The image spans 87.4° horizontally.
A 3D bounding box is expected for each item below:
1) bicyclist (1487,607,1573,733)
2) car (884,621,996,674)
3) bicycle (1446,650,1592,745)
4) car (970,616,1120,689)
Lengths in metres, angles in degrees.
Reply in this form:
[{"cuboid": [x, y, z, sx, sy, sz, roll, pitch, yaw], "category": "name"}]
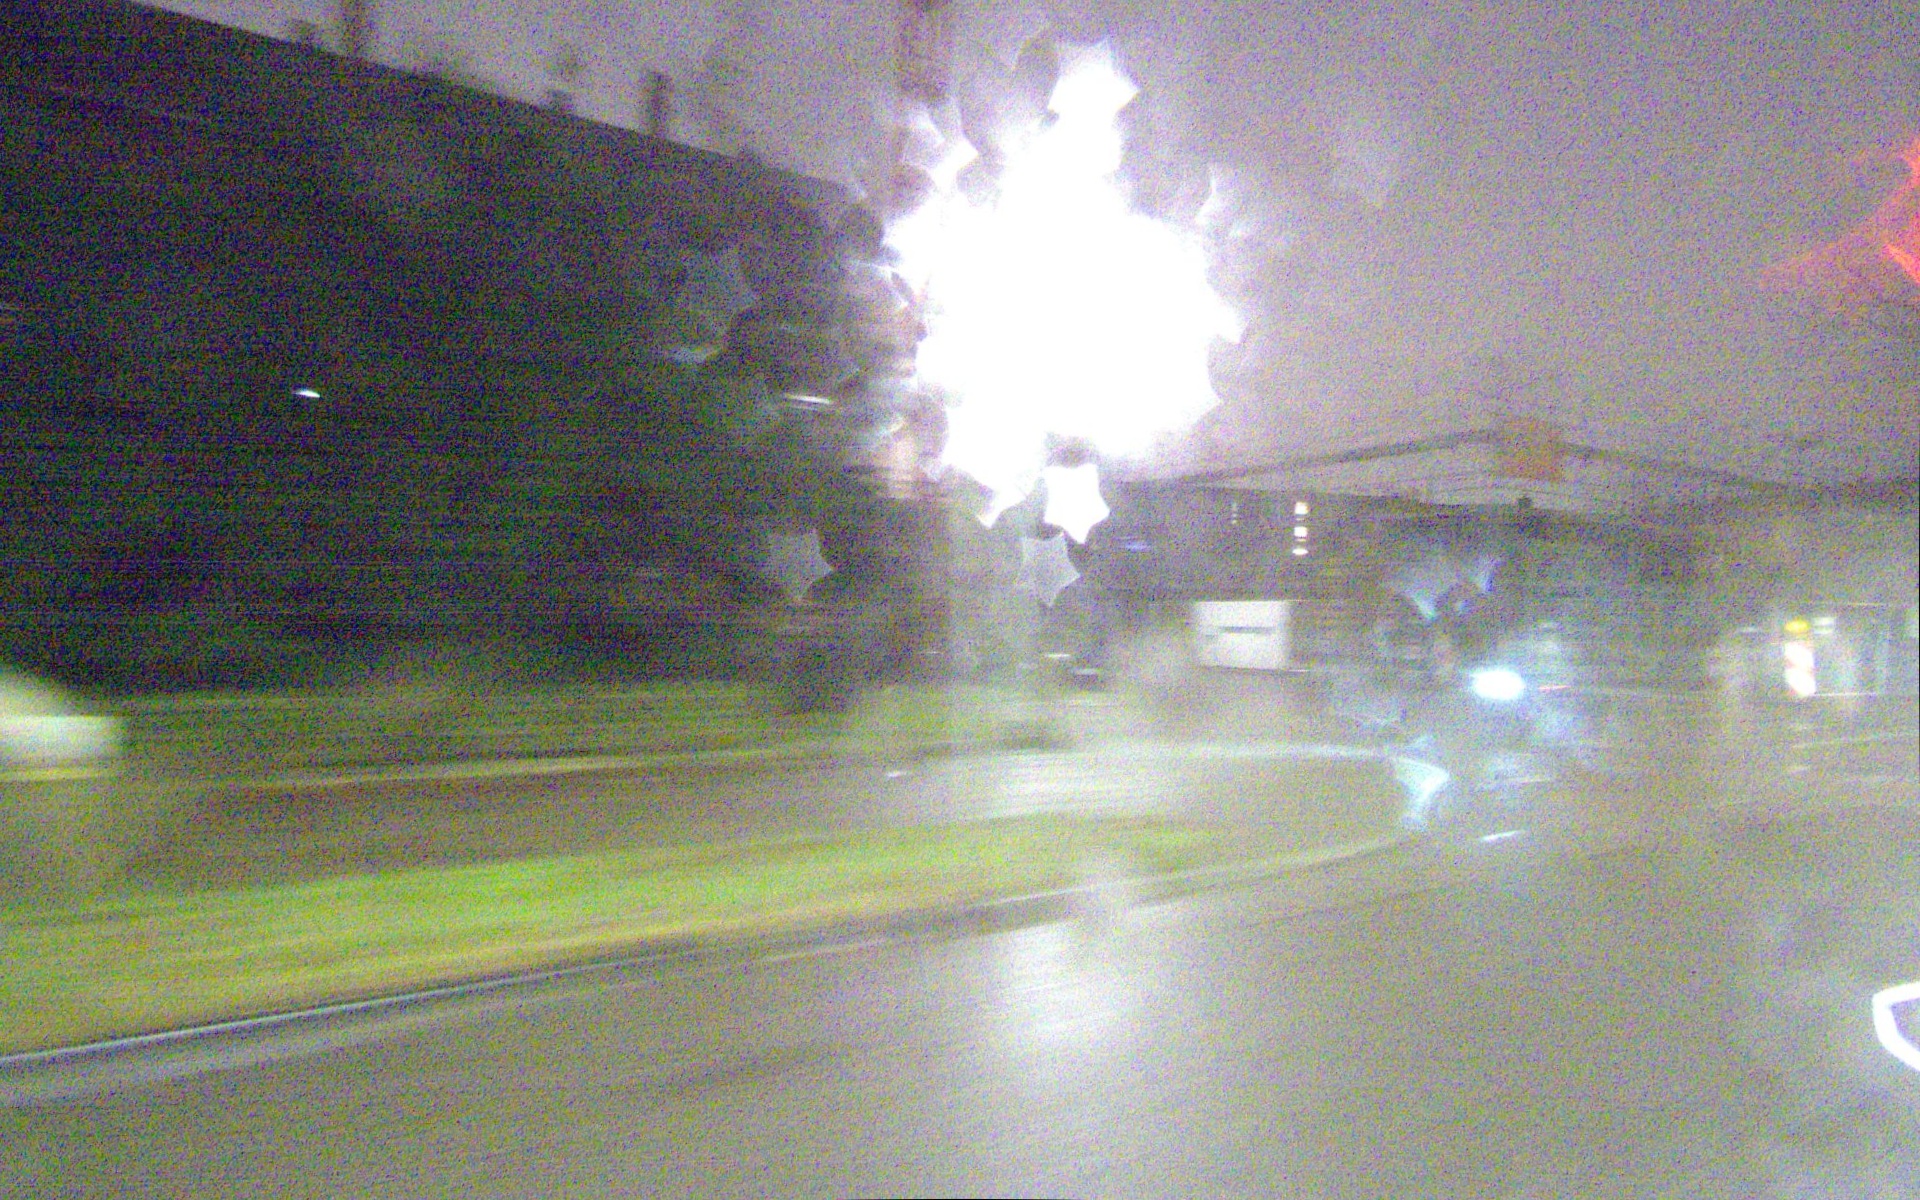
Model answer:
[{"cuboid": [7.765, 0.920, 13.689, 0.949, 1.616, 0.633, -2, 3, -31], "category": "bicyclist"}, {"cuboid": [-0.626, 1.272, 27.777, 1.476, 1.275, 3.840, 5, -3, -27], "category": "car"}, {"cuboid": [7.601, 1.312, 13.607, 2.287, 1.176, 0.627, 4, 0, -31], "category": "bicycle"}, {"cuboid": [1.791, 1.124, 22.519, 1.474, 1.388, 4.065, 6, -4, -24], "category": "car"}]
